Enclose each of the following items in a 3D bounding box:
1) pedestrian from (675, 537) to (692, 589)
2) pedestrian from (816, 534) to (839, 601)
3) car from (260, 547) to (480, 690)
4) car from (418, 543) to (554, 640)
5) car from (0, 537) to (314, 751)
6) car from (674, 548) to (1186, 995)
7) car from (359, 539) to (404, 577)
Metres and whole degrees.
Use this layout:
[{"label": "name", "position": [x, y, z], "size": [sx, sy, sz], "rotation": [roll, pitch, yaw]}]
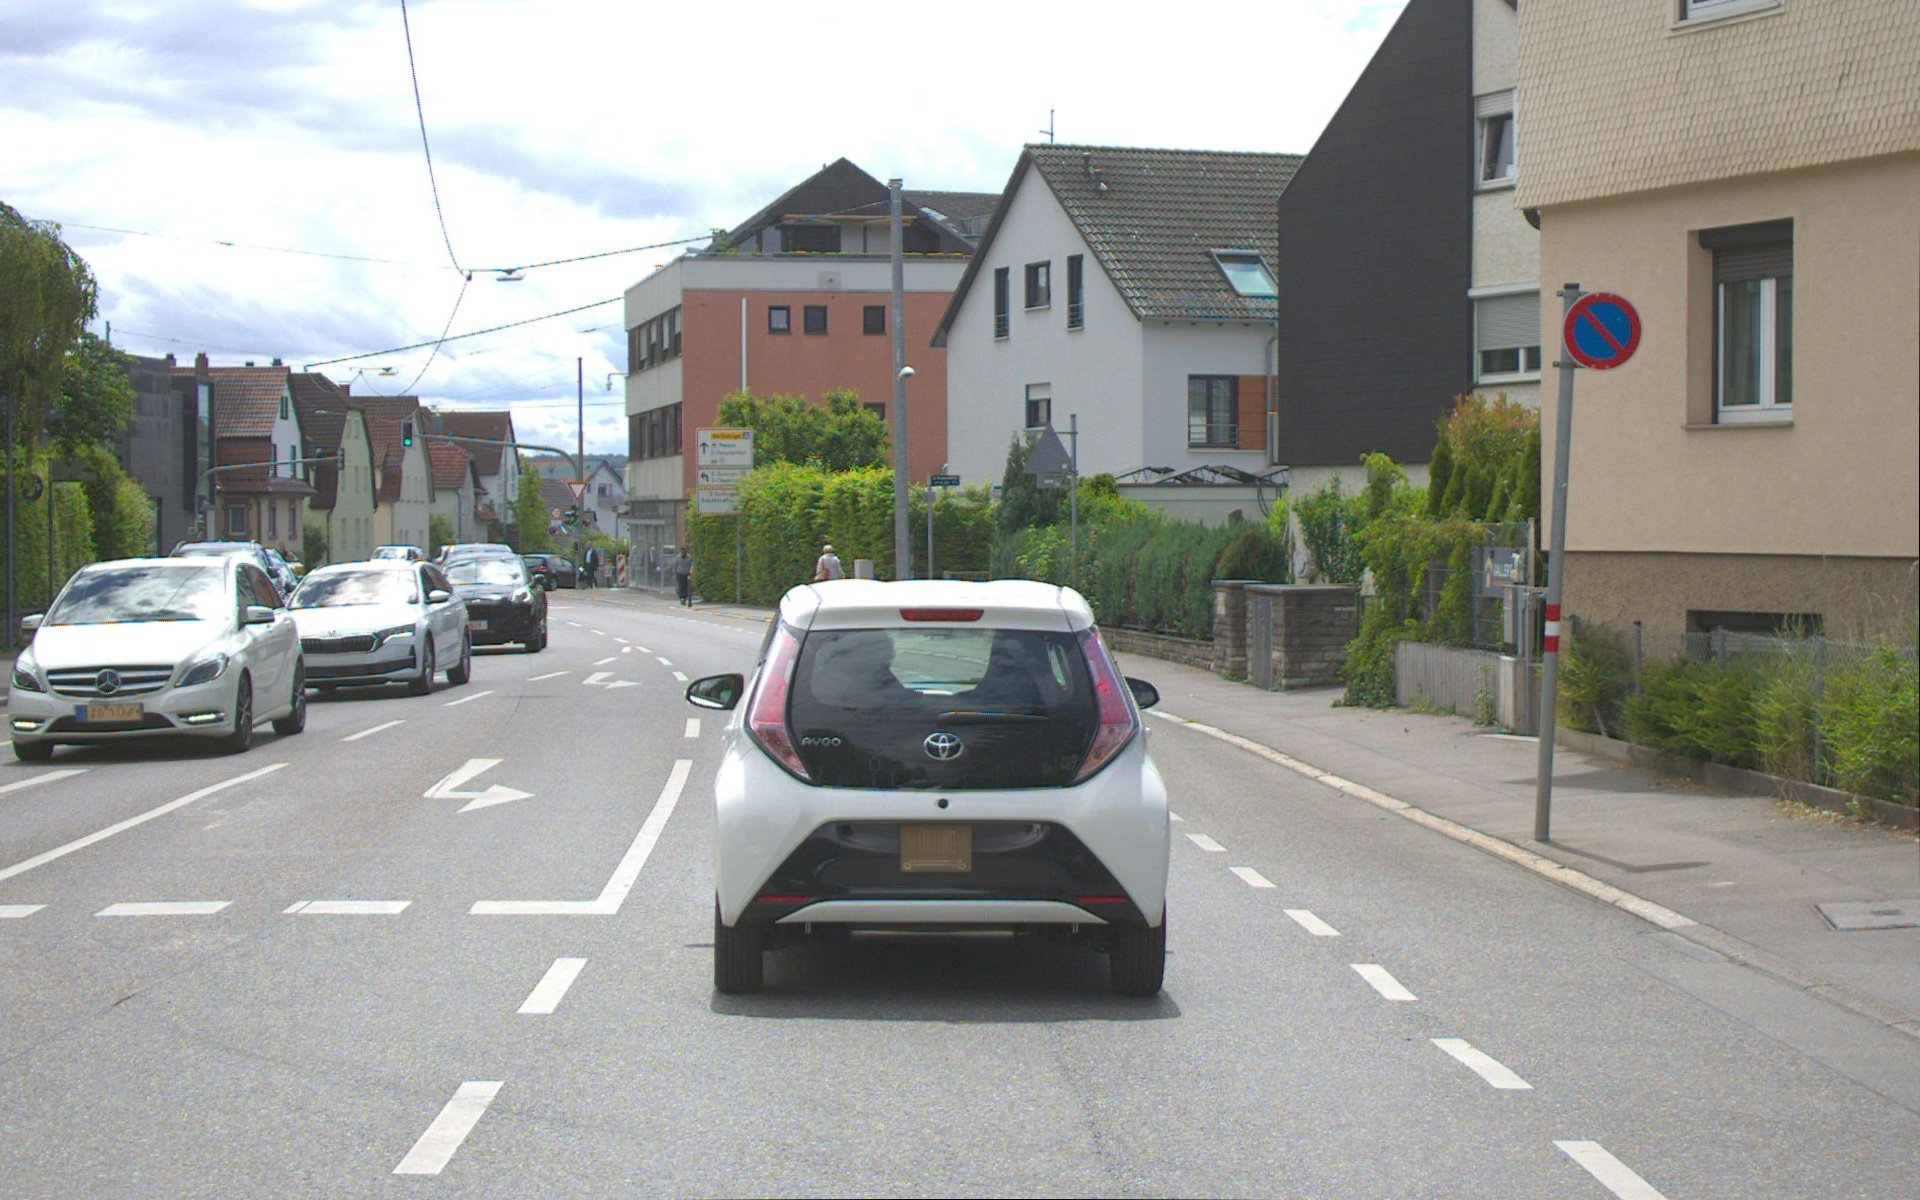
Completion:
[{"label": "pedestrian", "position": [-7.578, -1.014, 94.108], "size": [0.413, 1.433, 0.438], "rotation": [1, 1, -9]}, {"label": "pedestrian", "position": [-2.852, -0.708, 74.009], "size": [0.413, 1.433, 0.438], "rotation": [1, 1, -14]}, {"label": "car", "position": [-6.519, 0.156, 38.406], "size": [1.775, 1.425, 4.523], "rotation": [-3, 1, -2]}, {"label": "car", "position": [-7.245, -0.160, 52.852], "size": [1.775, 1.425, 4.009], "rotation": [0, 1, -4]}, {"label": "car", "position": [-6.439, 0.293, 27.788], "size": [1.775, 1.556, 4.170], "rotation": [-1, 1, -3]}, {"label": "car", "position": [-0.261, 0.556, 13.607], "size": [1.620, 1.481, 4.001], "rotation": [1, 1, -6]}, {"label": "car", "position": [-27.321, -1.992, 162.343], "size": [1.993, 1.678, 4.001], "rotation": [2, 1, -9]}]
